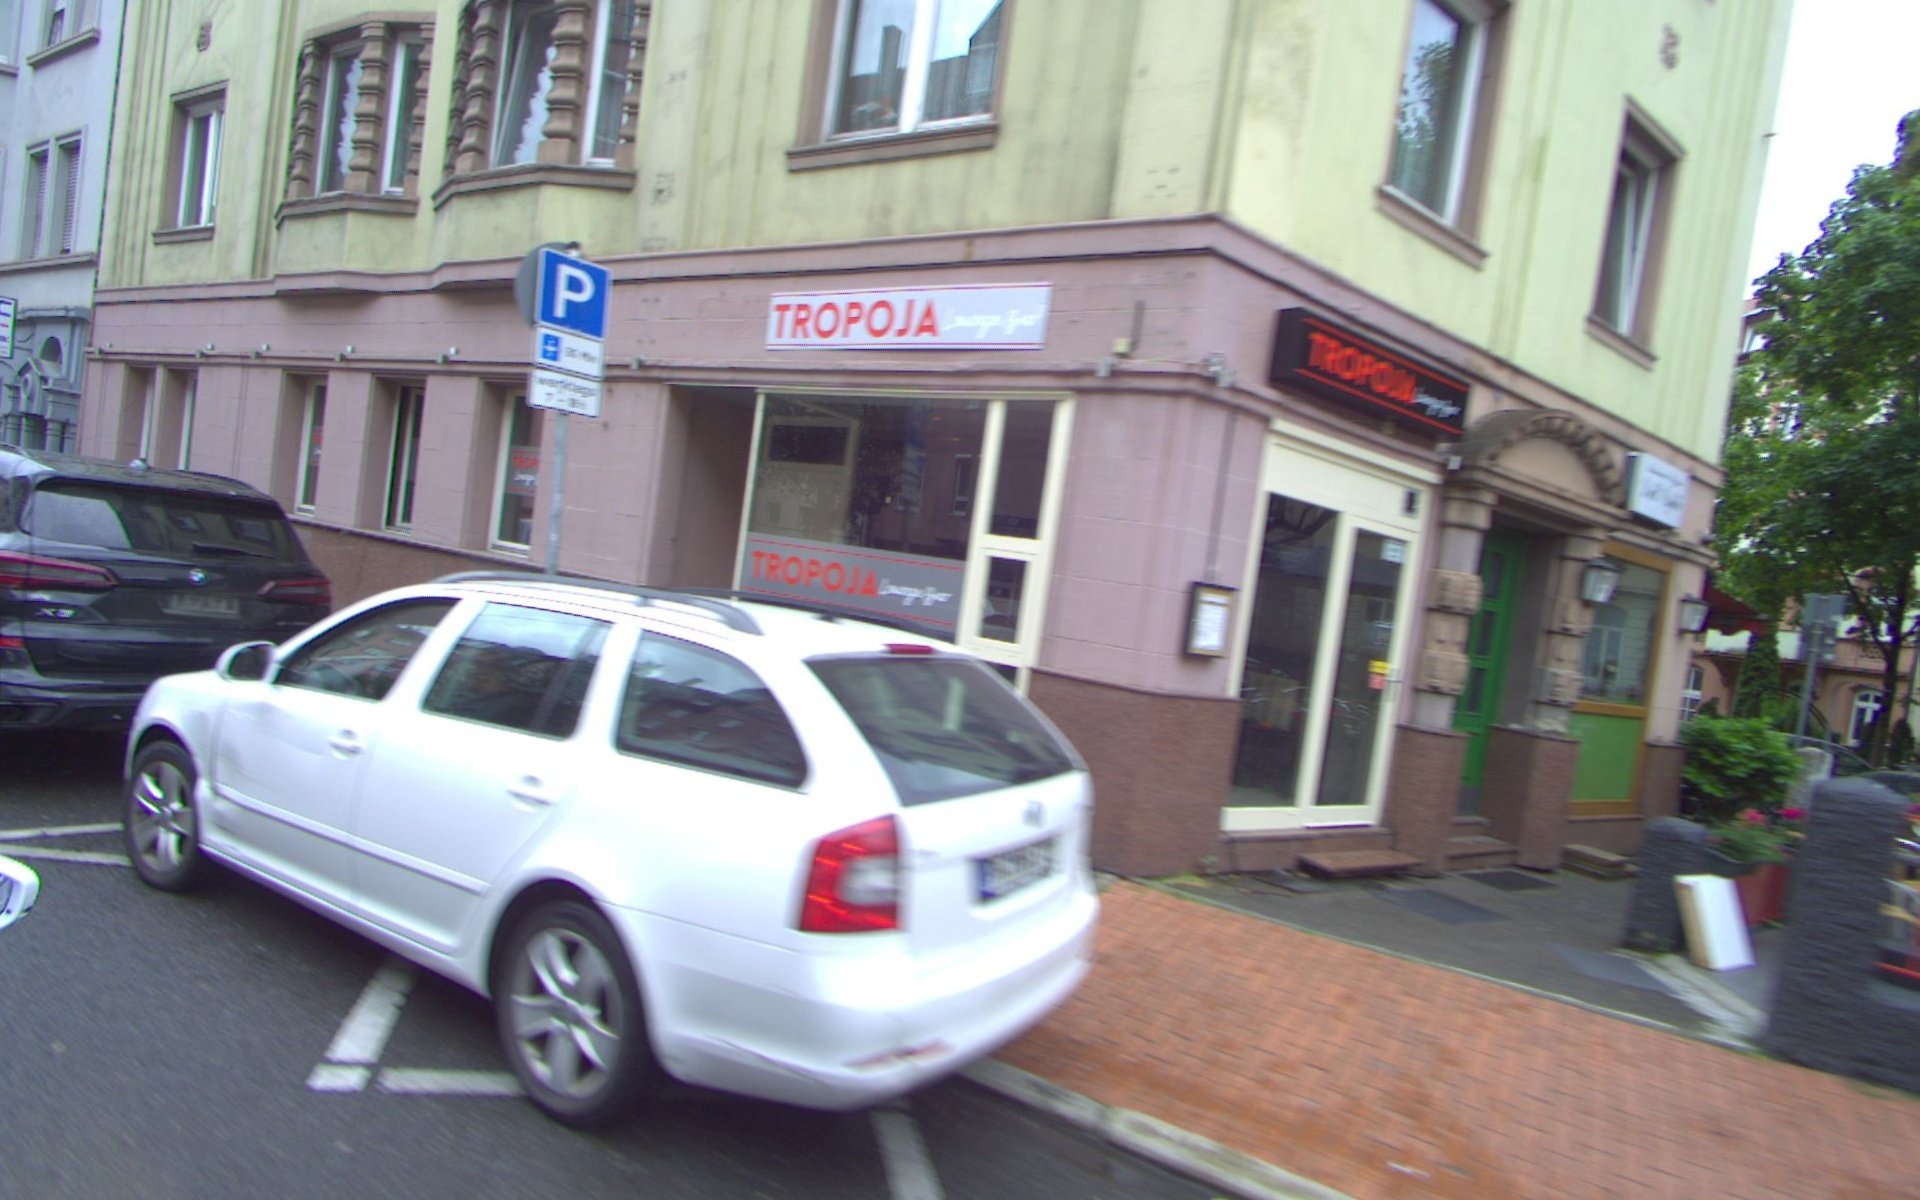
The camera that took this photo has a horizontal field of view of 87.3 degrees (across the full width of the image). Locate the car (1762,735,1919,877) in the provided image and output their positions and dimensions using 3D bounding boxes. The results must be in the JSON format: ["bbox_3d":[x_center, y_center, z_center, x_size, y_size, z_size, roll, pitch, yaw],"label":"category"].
[{"bbox_3d":[14.044,3.059,13.966,4.570,1.545,1.791,9,-2,-8],"label":"car"}]

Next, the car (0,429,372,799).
[{"bbox_3d":[-6.131,-0.078,6.567,4.599,1.751,1.882,7,-2,32],"label":"car"}]

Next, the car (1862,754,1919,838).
[{"bbox_3d":[22.696,4.627,22.569,3.590,1.686,1.589,9,-1,-8],"label":"car"}]

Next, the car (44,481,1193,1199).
[{"bbox_3d":[-1.572,0.572,4.039,4.417,1.583,1.803,7,-2,31],"label":"car"}]

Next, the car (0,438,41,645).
[{"bbox_3d":[-11.076,-0.801,9.713,4.926,1.851,1.921,7,1,32],"label":"car"}]

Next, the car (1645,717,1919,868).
[{"bbox_3d":[13.659,3.110,16.284,3.933,1.747,1.791,9,-1,-8],"label":"car"}]
